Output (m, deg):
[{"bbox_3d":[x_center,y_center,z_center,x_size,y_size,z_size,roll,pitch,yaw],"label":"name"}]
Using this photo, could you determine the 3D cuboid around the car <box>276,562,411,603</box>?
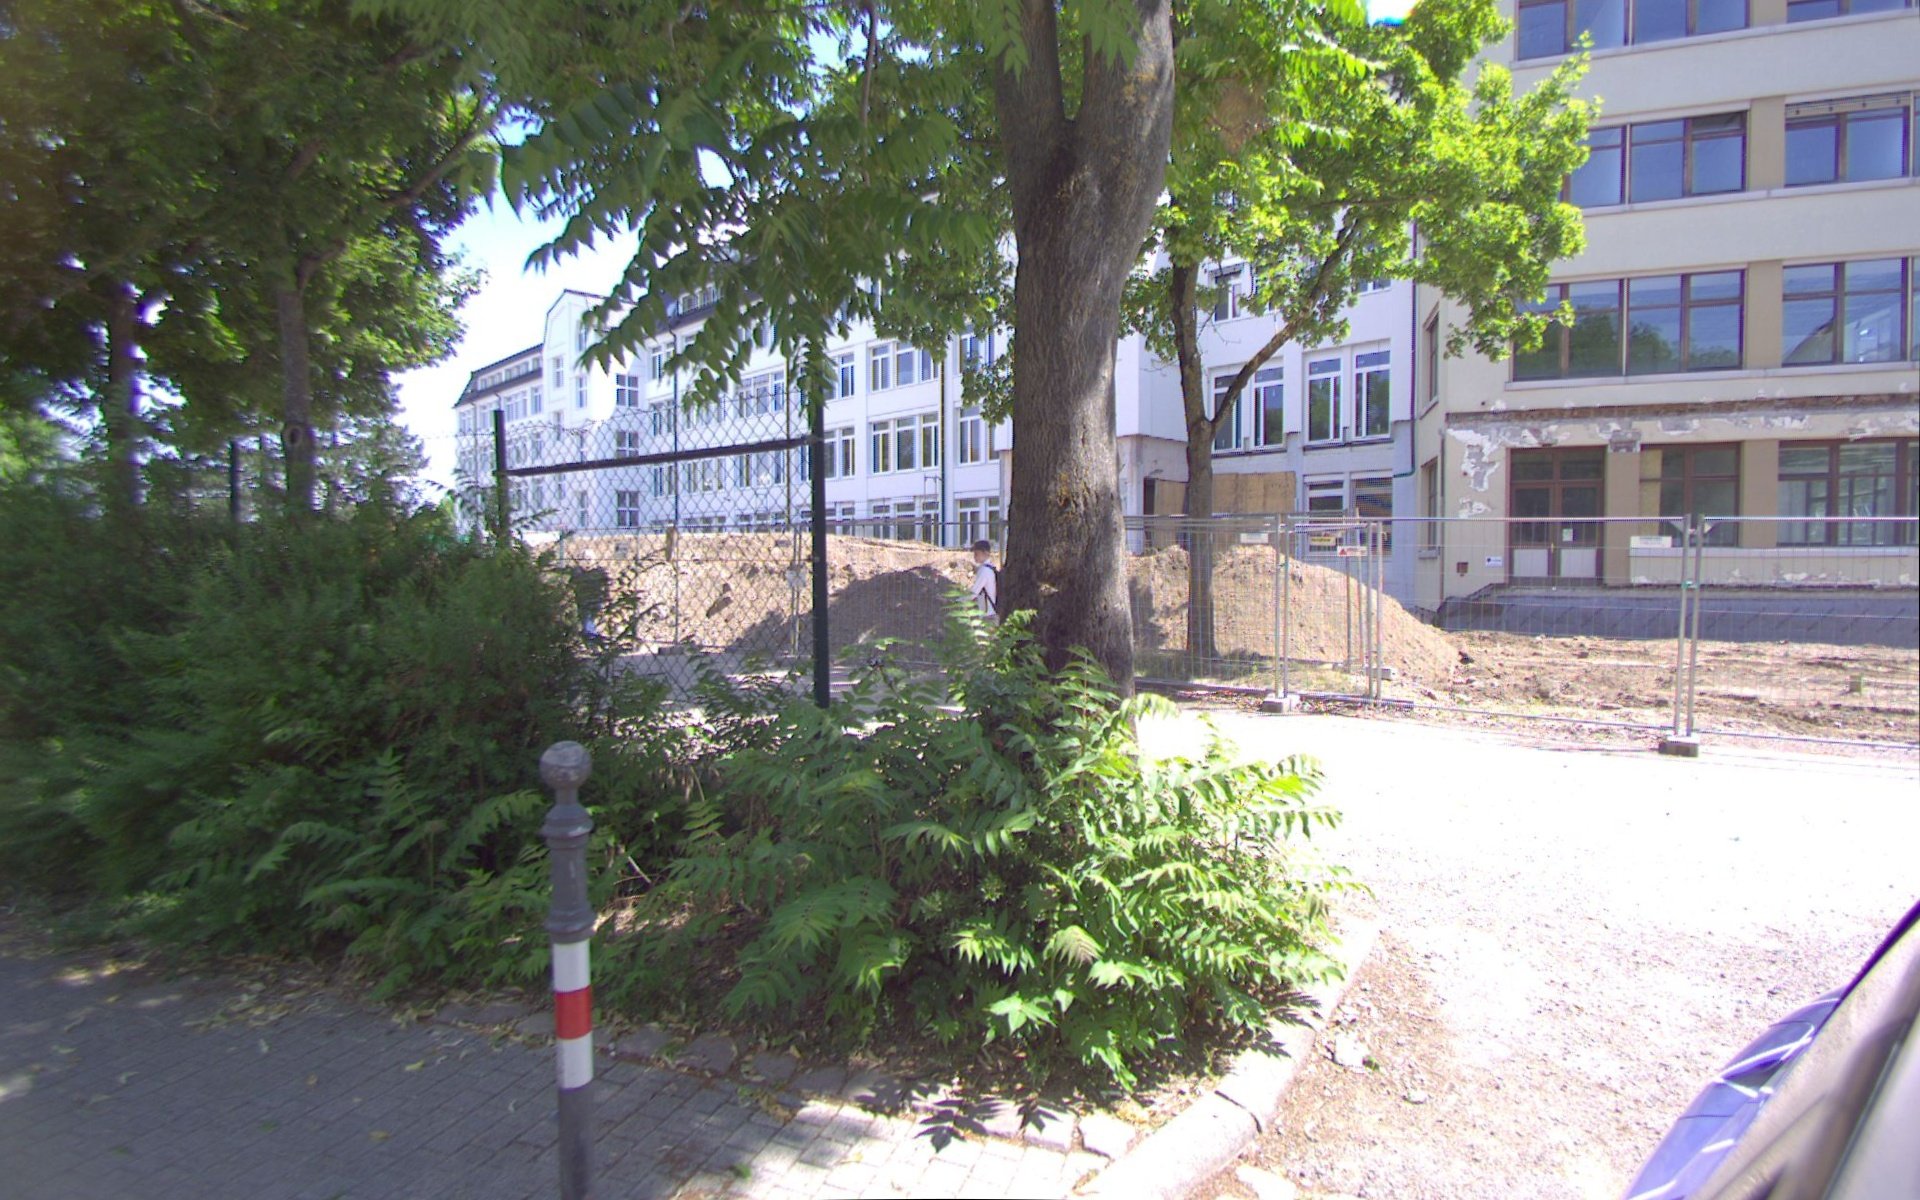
[{"bbox_3d":[-22.547,-0.665,37.088,3.933,1.437,1.996,-1,2,-43],"label":"car"}]

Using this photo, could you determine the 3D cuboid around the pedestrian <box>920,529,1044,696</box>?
[{"bbox_3d":[0.247,0.105,11.310,1.074,1.751,0.865,2,2,38],"label":"pedestrian"}]

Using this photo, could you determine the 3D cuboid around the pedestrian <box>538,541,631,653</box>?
[{"bbox_3d":[-5.869,-0.076,15.824,1.046,1.670,1.022,2,2,44],"label":"pedestrian"}]
